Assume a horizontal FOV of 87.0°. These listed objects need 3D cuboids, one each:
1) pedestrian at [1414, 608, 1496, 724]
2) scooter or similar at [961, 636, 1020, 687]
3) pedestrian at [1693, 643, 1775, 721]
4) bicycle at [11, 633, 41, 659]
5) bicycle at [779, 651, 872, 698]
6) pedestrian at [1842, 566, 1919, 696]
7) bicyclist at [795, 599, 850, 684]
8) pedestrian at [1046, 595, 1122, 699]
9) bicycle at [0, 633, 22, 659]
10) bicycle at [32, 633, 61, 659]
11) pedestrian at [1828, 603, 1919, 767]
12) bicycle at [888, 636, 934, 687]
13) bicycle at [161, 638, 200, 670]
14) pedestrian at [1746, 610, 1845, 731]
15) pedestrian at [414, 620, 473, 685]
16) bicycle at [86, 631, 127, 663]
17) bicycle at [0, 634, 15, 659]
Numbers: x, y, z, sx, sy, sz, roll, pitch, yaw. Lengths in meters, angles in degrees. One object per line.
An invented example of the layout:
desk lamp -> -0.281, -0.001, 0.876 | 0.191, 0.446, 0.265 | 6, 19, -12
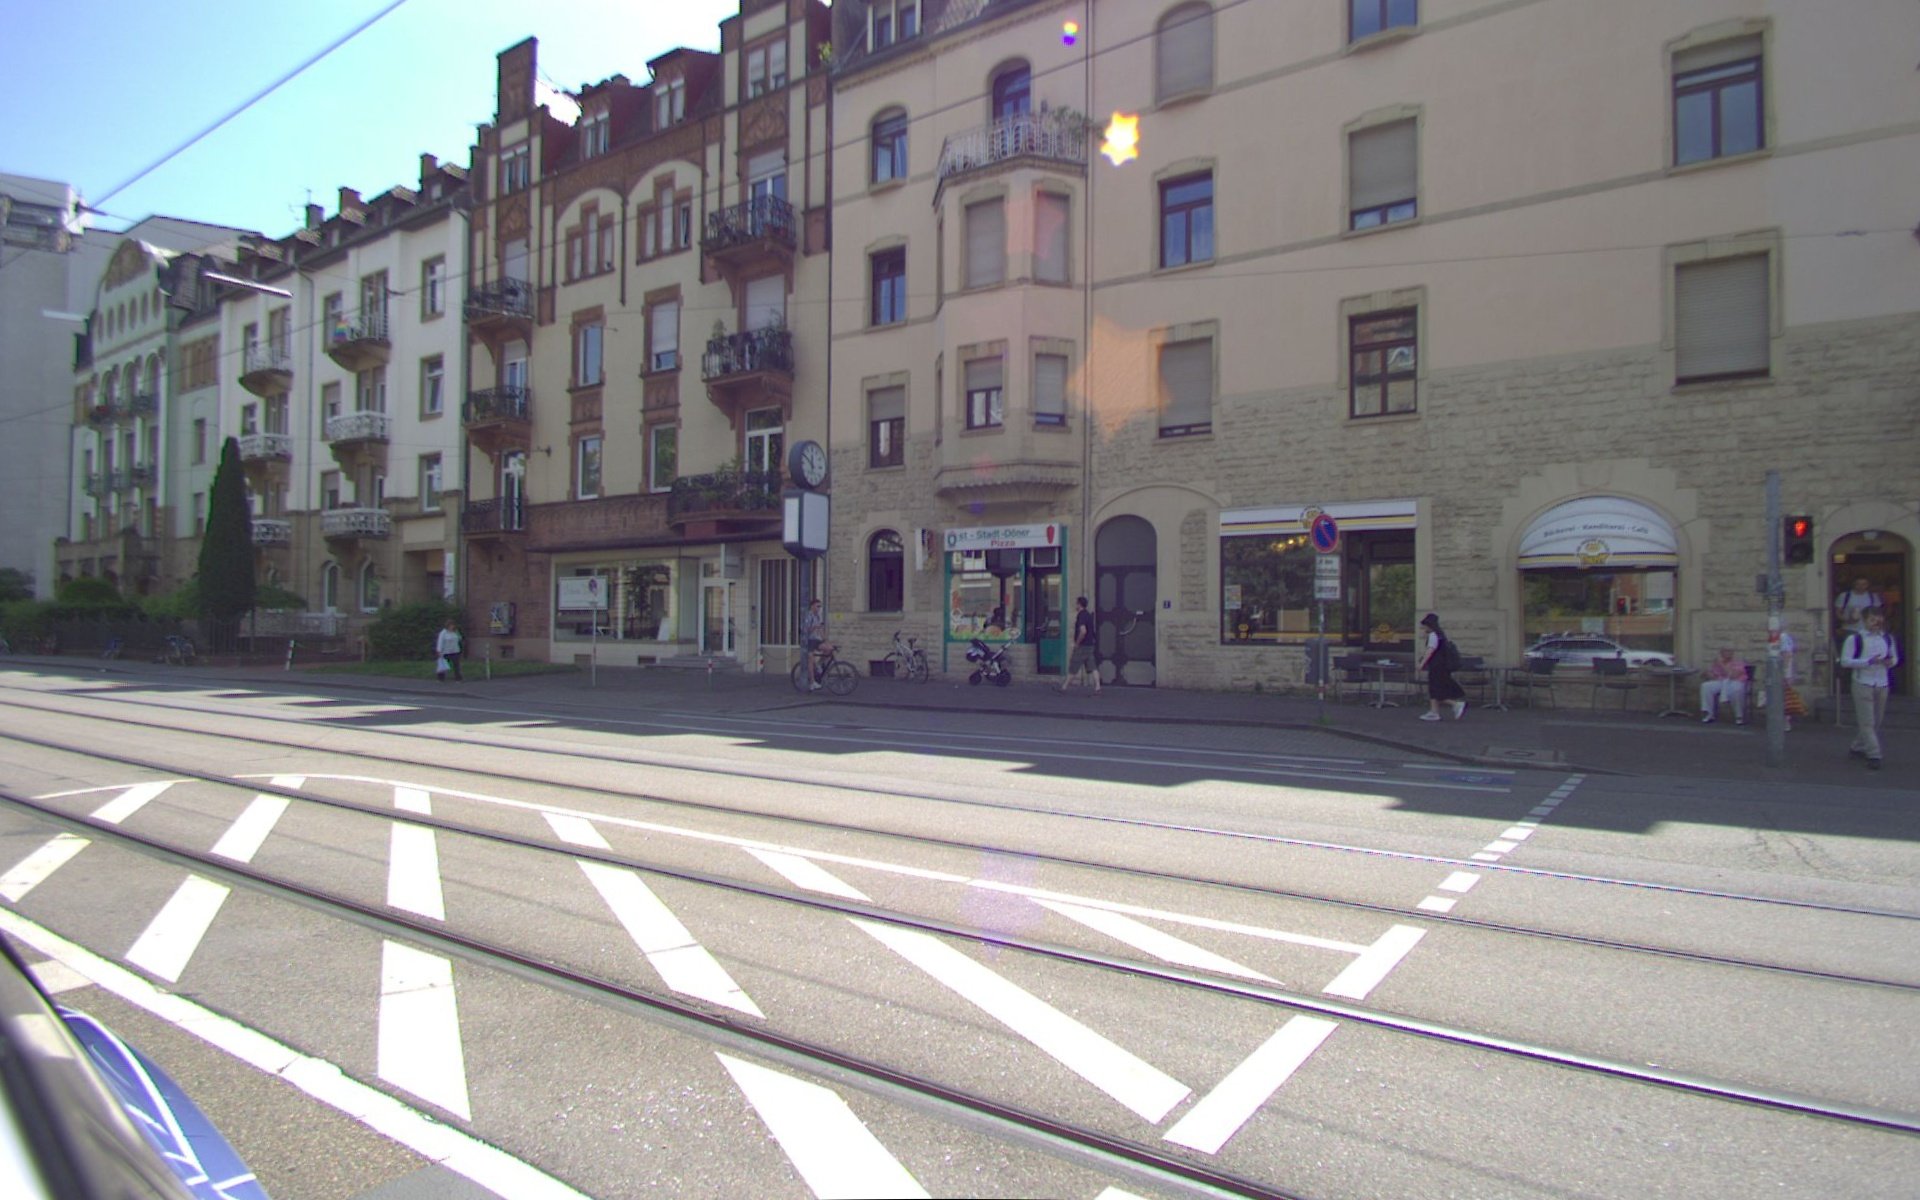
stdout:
pedestrian -> 7.426, 0.951, 15.159 | 1.023, 1.648, 0.854 | 0, 0, 32
scooter or similar -> 0.664, 1.334, 22.098 | 1.191, 1.052, 0.697 | 0, 0, -7
pedestrian -> 11.369, 1.178, 14.897 | 0.880, 1.086, 0.908 | -1, -2, 34
bicycle -> -37.440, 1.837, 40.560 | 1.703, 1.007, 0.460 | -1, 1, 34
bicycle -> -2.751, 1.500, 20.608 | 1.814, 0.824, 0.746 | -1, 1, 32
pedestrian -> 13.680, 0.455, 14.951 | 0.818, 1.866, 0.755 | -1, -2, 32
bicyclist -> -2.801, 0.834, 20.598 | 0.830, 1.676, 0.749 | -1, -2, 38
pedestrian -> 2.387, 0.879, 19.414 | 1.161, 1.905, 0.894 | -1, 0, 33
bicycle -> -40.068, 1.932, 42.476 | 1.766, 1.040, 0.603 | -1, 1, 33
bicycle -> -35.817, 1.808, 39.688 | 1.721, 0.973, 0.410 | -1, 1, 34
pedestrian -> 10.218, 0.909, 11.237 | 0.774, 1.746, 0.852 | -1, -1, 35
bicycle -> -1.126, 1.383, 23.062 | 0.365, 1.074, 1.469 | 1, 0, -33
bicycle -> -25.178, 1.729, 32.666 | 1.836, 0.968, 0.407 | 0, 2, 34
pedestrian -> 11.484, 0.948, 13.953 | 0.916, 1.607, 0.800 | -1, -2, 32
pedestrian -> -12.631, 1.272, 24.771 | 0.981, 1.554, 0.894 | -1, -3, 32
bicycle -> -30.293, 1.668, 35.928 | 1.766, 1.073, 0.603 | -1, 1, 33
bicycle -> -38.751, 1.868, 40.575 | 0.599, 1.007, 1.780 | 1, -2, -21
